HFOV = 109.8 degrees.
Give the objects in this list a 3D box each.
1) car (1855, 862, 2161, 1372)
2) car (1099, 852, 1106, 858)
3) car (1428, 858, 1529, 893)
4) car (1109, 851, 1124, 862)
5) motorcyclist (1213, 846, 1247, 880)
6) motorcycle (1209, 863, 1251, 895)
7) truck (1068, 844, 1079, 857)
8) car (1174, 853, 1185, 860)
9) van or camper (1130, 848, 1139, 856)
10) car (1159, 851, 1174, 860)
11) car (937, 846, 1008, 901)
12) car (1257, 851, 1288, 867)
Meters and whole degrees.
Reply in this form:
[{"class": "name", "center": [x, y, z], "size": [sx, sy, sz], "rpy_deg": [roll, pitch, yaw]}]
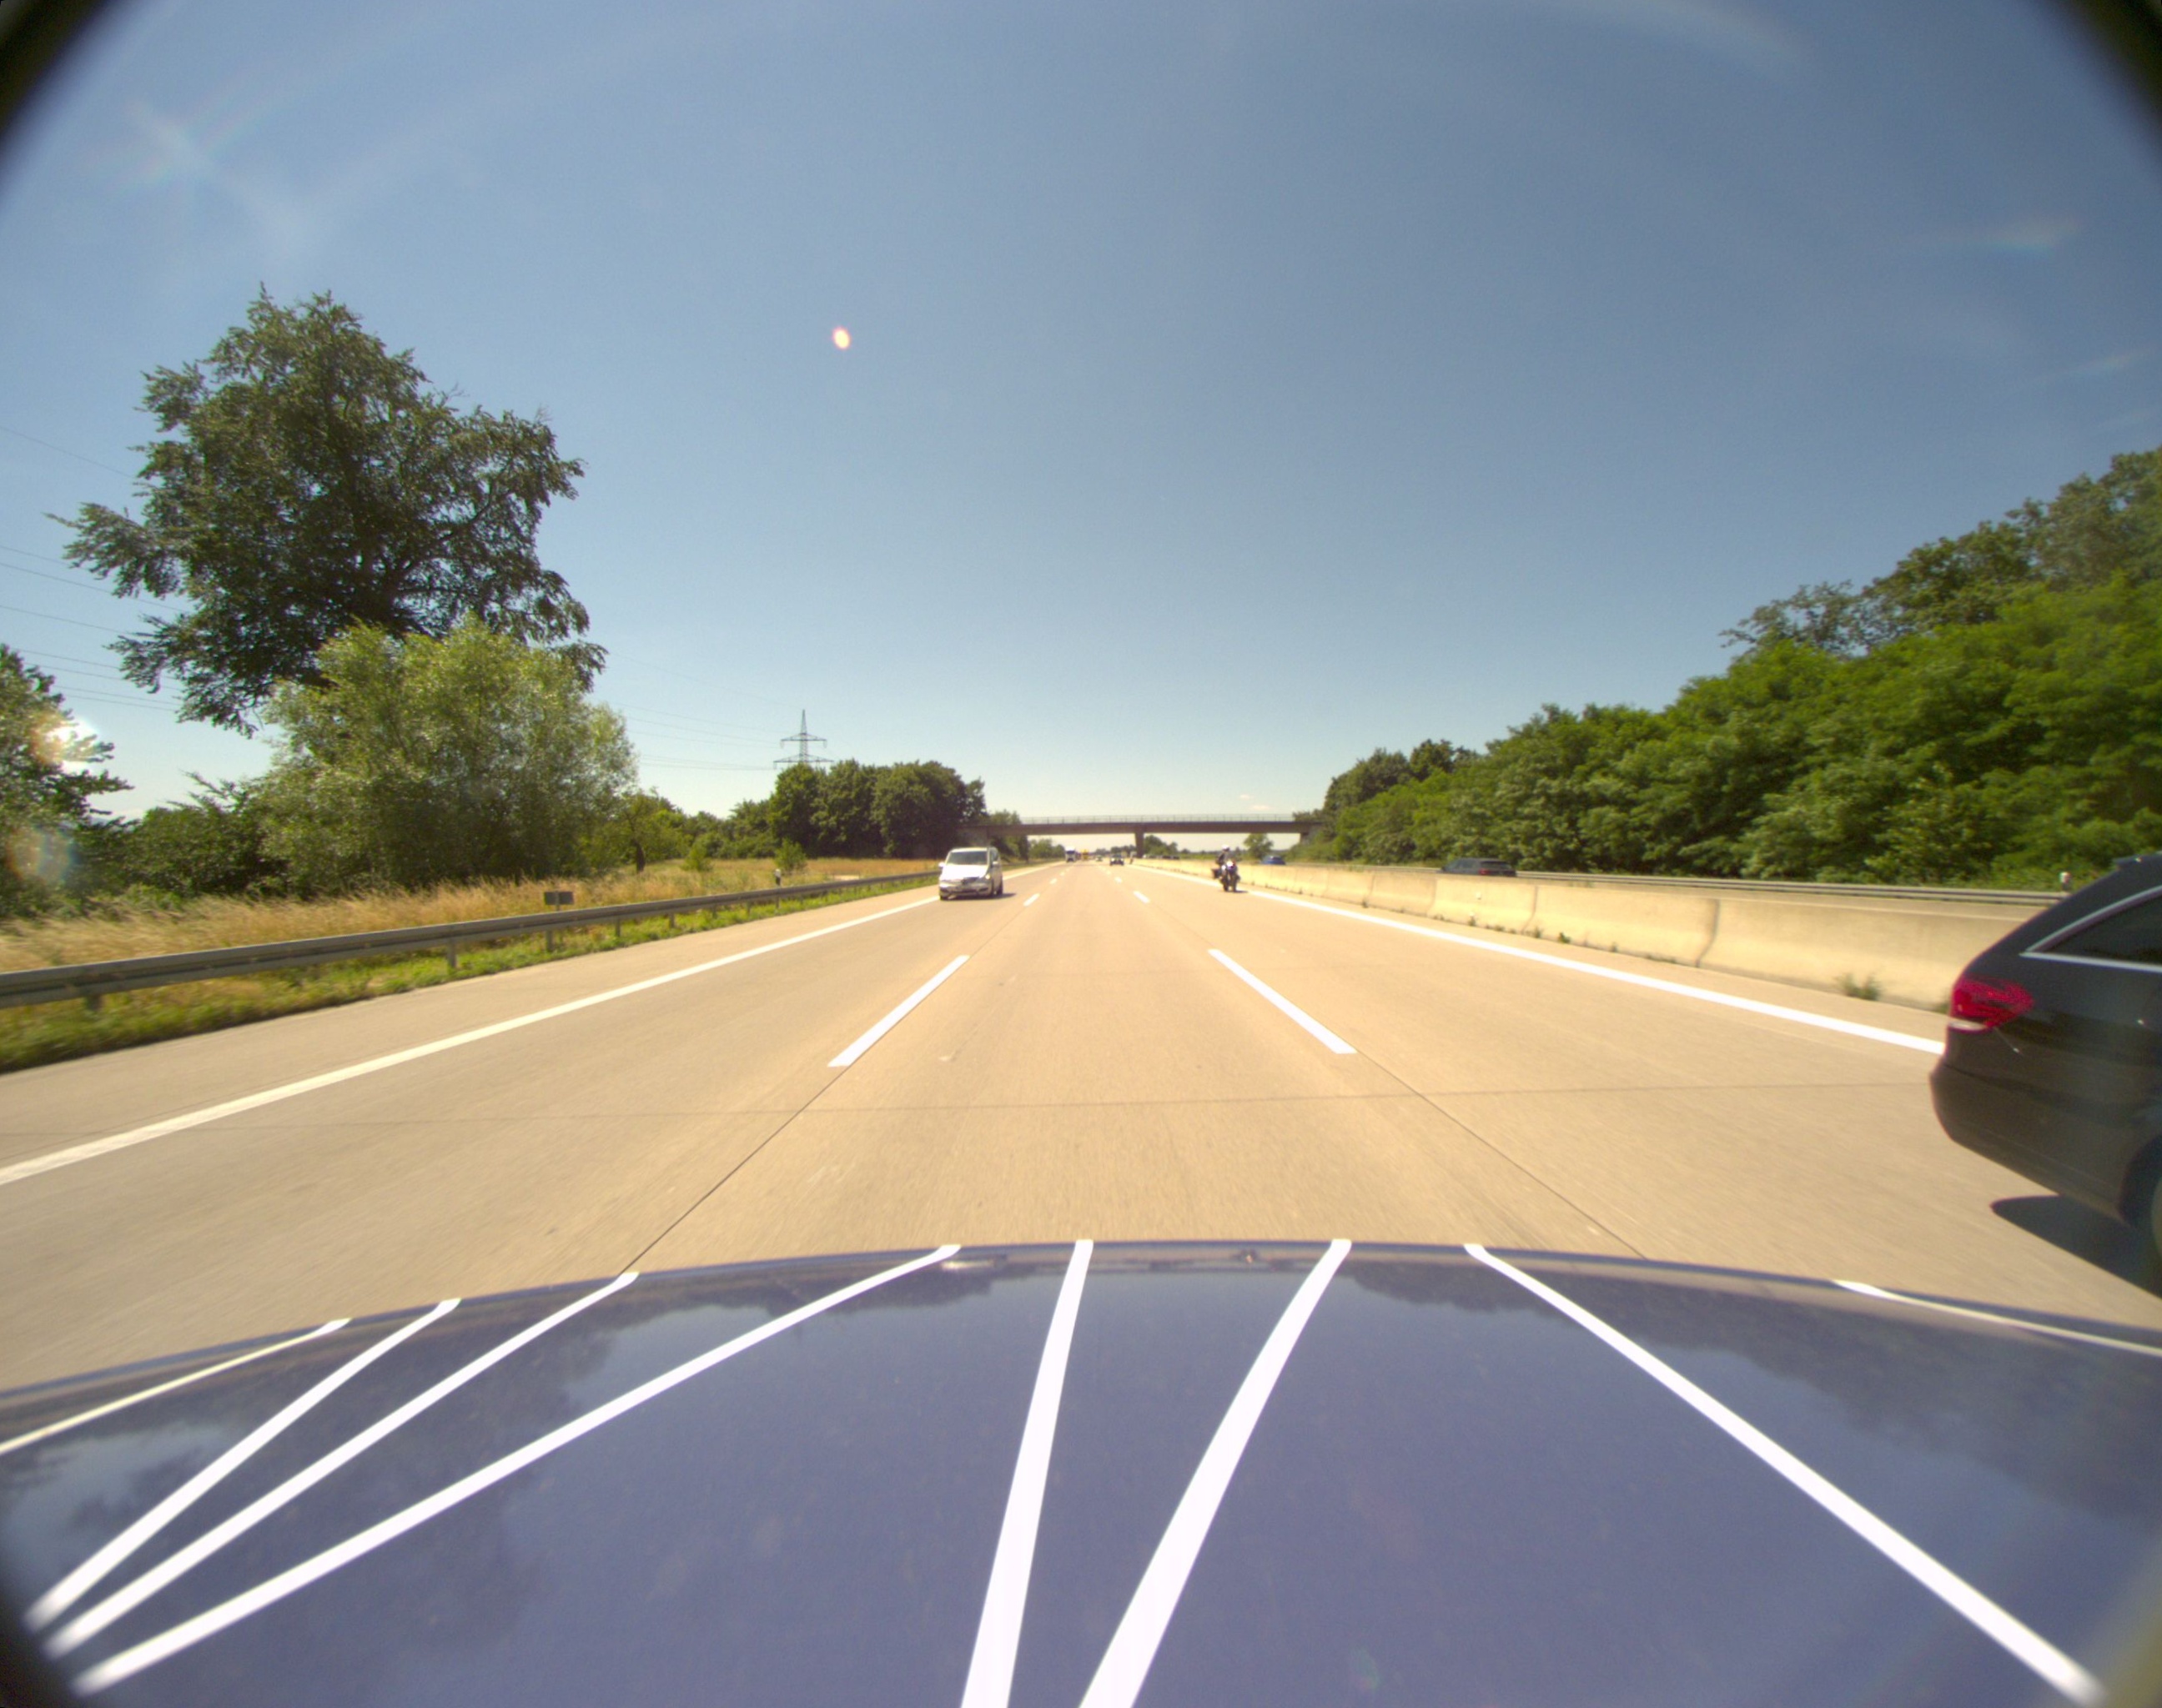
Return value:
[{"class": "car", "center": [4.071, 0.760, 0.279], "size": [1.895, 1.465, 5.603], "rpy_deg": [-1, 0, 0]}, {"class": "car", "center": [5.587, 0.237, 198.454], "size": [1.586, 1.527, 3.611], "rpy_deg": [-1, 0, 0]}, {"class": "car", "center": [16.695, 0.863, 32.198], "size": [1.681, 1.308, 4.860], "rpy_deg": [-1, 0, -1]}, {"class": "car", "center": [4.821, 0.314, 103.647], "size": [1.998, 1.518, 4.000], "rpy_deg": [0, 0, 0]}, {"class": "motorcyclist", "center": [5.380, 0.313, 27.518], "size": [1.027, 1.202, 0.911], "rpy_deg": [-1, 0, 0]}, {"class": "motorcycle", "center": [5.363, 0.893, 27.475], "size": [1.024, 1.042, 2.413], "rpy_deg": [-2, 0, 0]}, {"class": "truck", "center": [-2.036, -0.919, 209.200], "size": [2.570, 3.514, 10.100], "rpy_deg": [-1, 0, 0]}, {"class": "car", "center": [18.366, 0.393, 142.404], "size": [1.569, 1.311, 3.632], "rpy_deg": [0, 0, -1]}, {"class": "van or camper", "center": [18.321, -0.739, 260.890], "size": [2.254, 2.429, 7.802], "rpy_deg": [-2, 0, 0]}, {"class": "car", "center": [12.780, 0.224, 113.802], "size": [1.703, 1.408, 4.015], "rpy_deg": [-1, 0, 1]}, {"class": "car", "center": [-4.056, 0.681, 29.291], "size": [1.884, 1.878, 5.279], "rpy_deg": [-1, 0, 0]}, {"class": "car", "center": [17.738, 0.462, 70.509], "size": [1.713, 1.377, 4.507], "rpy_deg": [-1, 0, -1]}]
